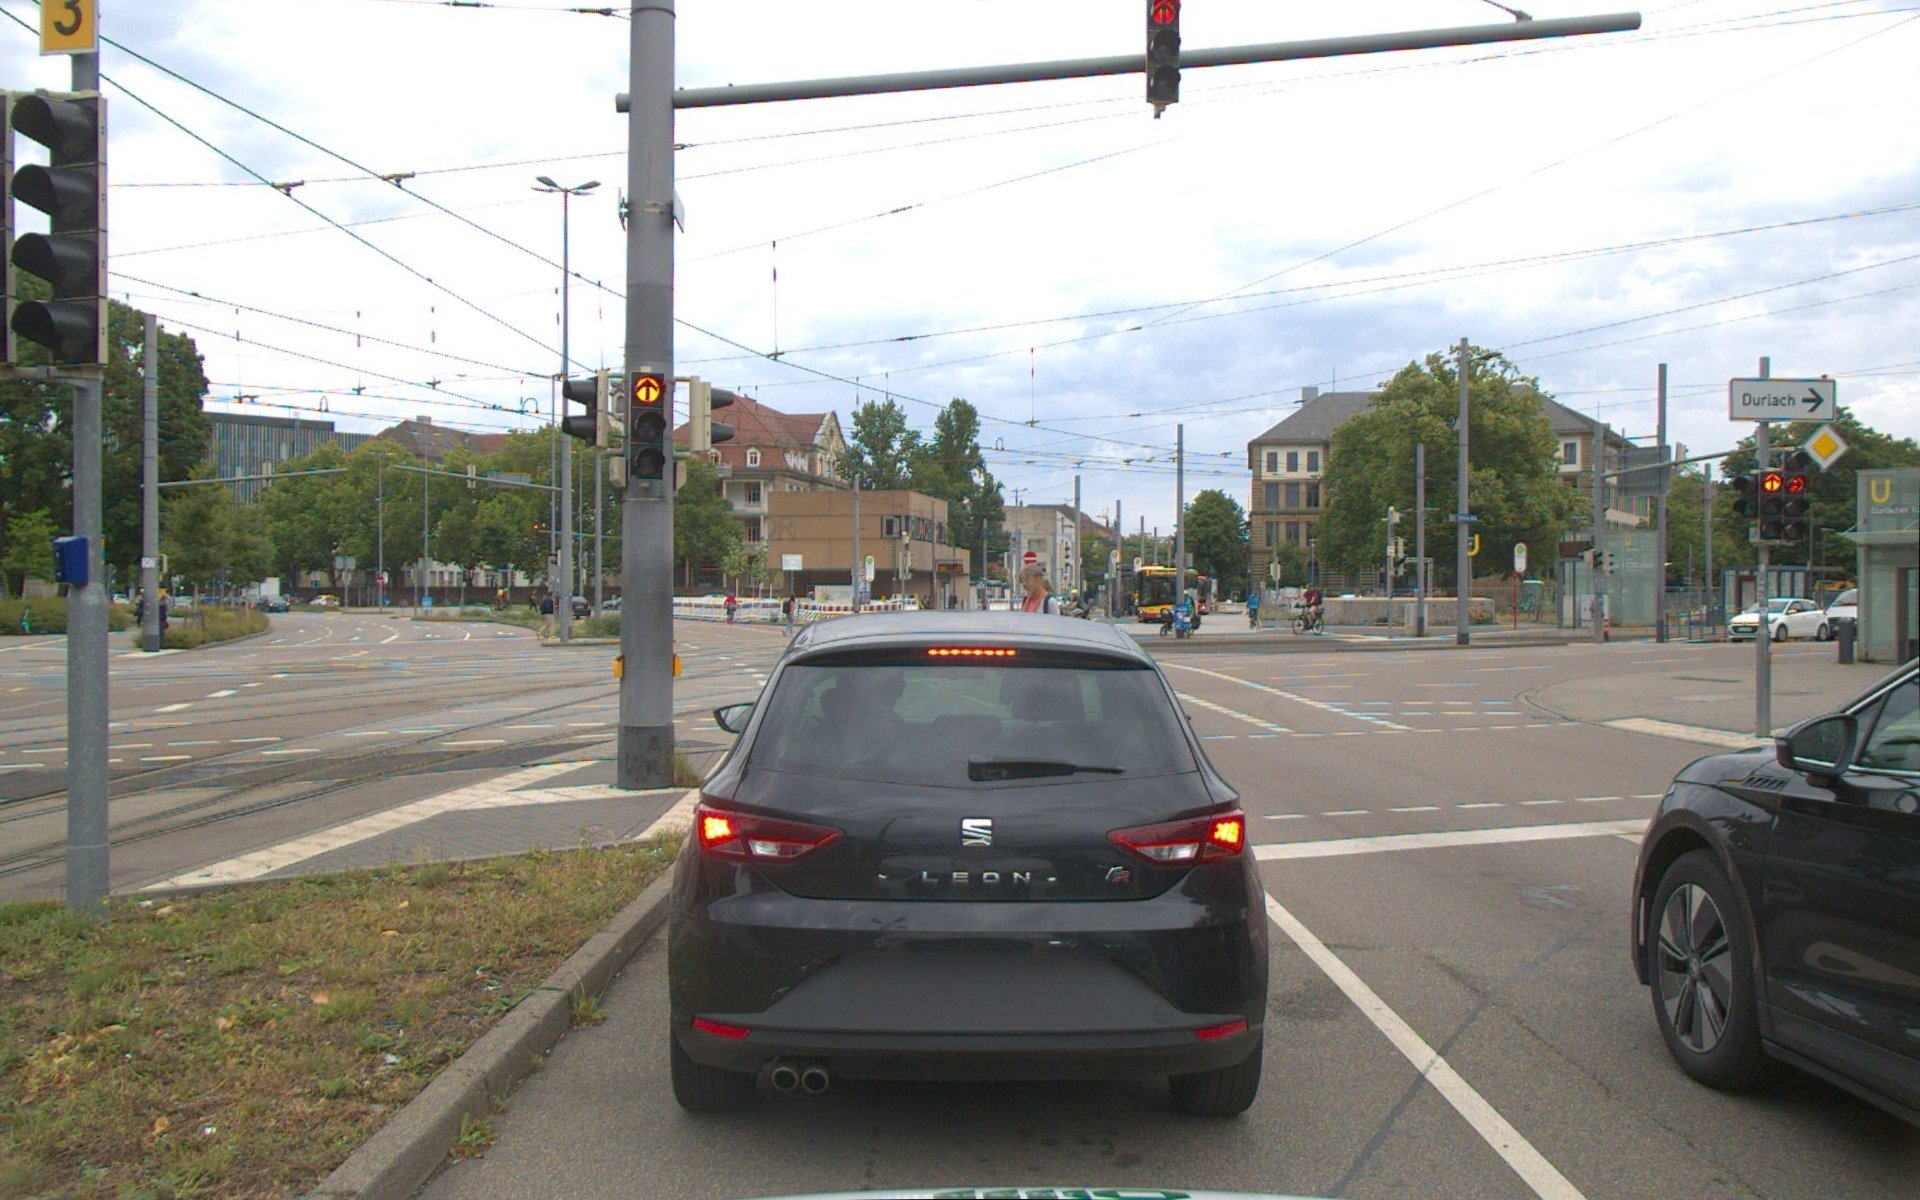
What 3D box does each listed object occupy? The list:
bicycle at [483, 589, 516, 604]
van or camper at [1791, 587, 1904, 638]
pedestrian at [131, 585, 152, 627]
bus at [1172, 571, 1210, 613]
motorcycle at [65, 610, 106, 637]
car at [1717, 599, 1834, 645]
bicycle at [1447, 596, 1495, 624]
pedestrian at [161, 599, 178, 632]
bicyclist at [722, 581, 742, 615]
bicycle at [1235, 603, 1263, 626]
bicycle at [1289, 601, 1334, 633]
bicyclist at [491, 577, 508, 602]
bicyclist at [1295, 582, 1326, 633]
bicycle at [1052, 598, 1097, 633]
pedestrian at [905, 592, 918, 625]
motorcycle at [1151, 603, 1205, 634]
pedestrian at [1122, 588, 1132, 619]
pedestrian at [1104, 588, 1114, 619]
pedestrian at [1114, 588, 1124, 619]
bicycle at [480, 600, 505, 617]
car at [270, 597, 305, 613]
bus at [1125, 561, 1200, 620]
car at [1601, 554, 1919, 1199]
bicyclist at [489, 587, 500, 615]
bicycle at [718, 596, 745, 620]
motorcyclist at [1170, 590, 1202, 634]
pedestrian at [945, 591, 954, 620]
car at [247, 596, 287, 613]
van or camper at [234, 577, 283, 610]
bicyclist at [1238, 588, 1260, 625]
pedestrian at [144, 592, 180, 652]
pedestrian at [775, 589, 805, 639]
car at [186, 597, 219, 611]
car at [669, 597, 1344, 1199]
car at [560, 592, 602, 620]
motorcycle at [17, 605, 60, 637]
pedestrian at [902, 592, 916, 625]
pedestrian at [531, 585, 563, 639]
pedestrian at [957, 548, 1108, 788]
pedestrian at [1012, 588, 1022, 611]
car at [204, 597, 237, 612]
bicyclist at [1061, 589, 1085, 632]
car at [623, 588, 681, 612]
[{"bbox_3d":[-36.525,-0.311,131.238,0.921,1.199,2.726,0,0,28],"label":"bicycle"},{"bbox_3d":[32.117,0.471,59.839,4.257,1.773,1.974,0,-1,-36],"label":"van or camper"},{"bbox_3d":[-39.886,0.288,80.627,0.787,2.016,0.870,1,-2,-35],"label":"pedestrian"},{"bbox_3d":[19.164,-0.658,136.960,2.597,3.340,11.004,0,0,10],"label":"bus"},{"bbox_3d":[-36.975,0.977,69.946,0.499,1.130,1.746,0,0,12],"label":"motorcycle"},{"bbox_3d":[27.501,0.732,55.768,3.948,1.490,1.756,0,-1,-32],"label":"car"},{"bbox_3d":[25.528,0.495,82.635,2.214,1.354,0.707,-1,-1,6],"label":"bicycle"},{"bbox_3d":[-49.152,0.965,102.815,0.865,2.016,0.791,0,-1,-19],"label":"pedestrian"},{"bbox_3d":[-11.785,-0.097,85.461,0.870,1.762,0.888,0,0,-22],"label":"bicyclist"},{"bbox_3d":[14.848,0.739,85.001,0.849,1.124,2.299,0,0,-5],"label":"bicycle"},{"bbox_3d":[13.377,0.627,62.880,0.764,1.205,2.019,0,0,43],"label":"bicycle"},{"bbox_3d":[-36.525,-0.833,131.236,0.919,2.049,0.977,0,0,28],"label":"bicyclist"},{"bbox_3d":[13.333,0.272,62.864,0.764,1.931,0.990,0,0,43],"label":"bicyclist"},{"bbox_3d":[4.489,0.606,64.785,1.697,1.345,0.644,0,0,-6],"label":"bicycle"},{"bbox_3d":[-2.869,0.503,97.316,0.693,1.951,0.624,0,0,7],"label":"pedestrian"},{"bbox_3d":[8.379,0.696,63.624,2.115,1.159,0.735,0,0,-34],"label":"motorcycle"},{"bbox_3d":[10.584,0.194,104.611,0.608,1.951,0.699,0,0,9],"label":"pedestrian"},{"bbox_3d":[9.368,0.202,104.122,0.608,1.951,0.699,0,0,9],"label":"pedestrian"},{"bbox_3d":[10.183,0.213,105.676,0.608,1.951,0.711,0,0,2],"label":"pedestrian"},{"bbox_3d":[-34.013,0.640,120.427,0.427,1.258,1.817,-2,-2,42],"label":"bicycle"},{"bbox_3d":[-67.445,0.500,165.868,3.930,1.489,1.771,1,1,43],"label":"car"},{"bbox_3d":[11.560,-0.524,93.631,2.897,3.178,11.548,0,0,14],"label":"bus"},{"bbox_3d":[3.265,0.703,3.769,1.741,1.625,4.508,0,0,-2],"label":"car"},{"bbox_3d":[-33.946,0.097,120.520,0.505,2.049,0.586,-2,-2,42],"label":"bicyclist"},{"bbox_3d":[-11.809,0.403,85.524,0.879,1.199,2.286,0,0,-22],"label":"bicycle"},{"bbox_3d":[8.718,0.443,63.869,0.968,1.678,0.741,0,-1,-34],"label":"motorcyclist"},{"bbox_3d":[-0.696,0.352,111.065,0.608,1.951,0.711,0,0,2],"label":"pedestrian"},{"bbox_3d":[-59.625,0.373,142.309,3.930,1.489,1.770,0,0,43],"label":"car"},{"bbox_3d":[-69.241,-0.632,163.193,5.403,3.179,2.382,0,0,41],"label":"van or camper"},{"bbox_3d":[14.845,0.329,84.894,0.854,1.884,1.046,0,0,-6],"label":"bicyclist"},{"bbox_3d":[-27.196,0.744,56.386,1.006,2.049,0.841,0,0,-20],"label":"pedestrian"},{"bbox_3d":[-6.757,0.560,65.663,0.687,1.968,1.026,0,0,38],"label":"pedestrian"},{"bbox_3d":[-80.690,0.416,176.159,3.927,1.489,1.772,1,1,41],"label":"car"},{"bbox_3d":[-0.021,0.734,5.978,1.671,1.474,3.808,0,0,-5],"label":"car"},{"bbox_3d":[-23.944,0.379,104.389,1.966,1.713,3.973,0,-1,-22],"label":"car"},{"bbox_3d":[-37.894,0.875,68.004,0.503,1.290,1.463,0,0,43],"label":"motorcycle"},{"bbox_3d":[-2.986,0.490,96.519,0.693,1.951,0.624,0,0,7],"label":"pedestrian"},{"bbox_3d":[-15.114,0.442,60.452,1.015,1.968,0.695,0,0,-26],"label":"pedestrian"},{"bbox_3d":[0.622,0.556,14.053,1.096,1.940,0.724,1,-1,-44],"label":"pedestrian"},{"bbox_3d":[4.899,-0.037,142.284,0.609,1.952,0.710,-1,-1,25],"label":"pedestrian"},{"bbox_3d":[-75.350,0.424,168.558,3.932,1.489,1.770,1,1,44],"label":"car"},{"bbox_3d":[4.412,0.408,64.777,0.837,1.702,0.653,0,0,-6],"label":"bicyclist"},{"bbox_3d":[-22.853,0.022,122.682,3.905,1.713,2.000,0,-1,0],"label":"car"}]
